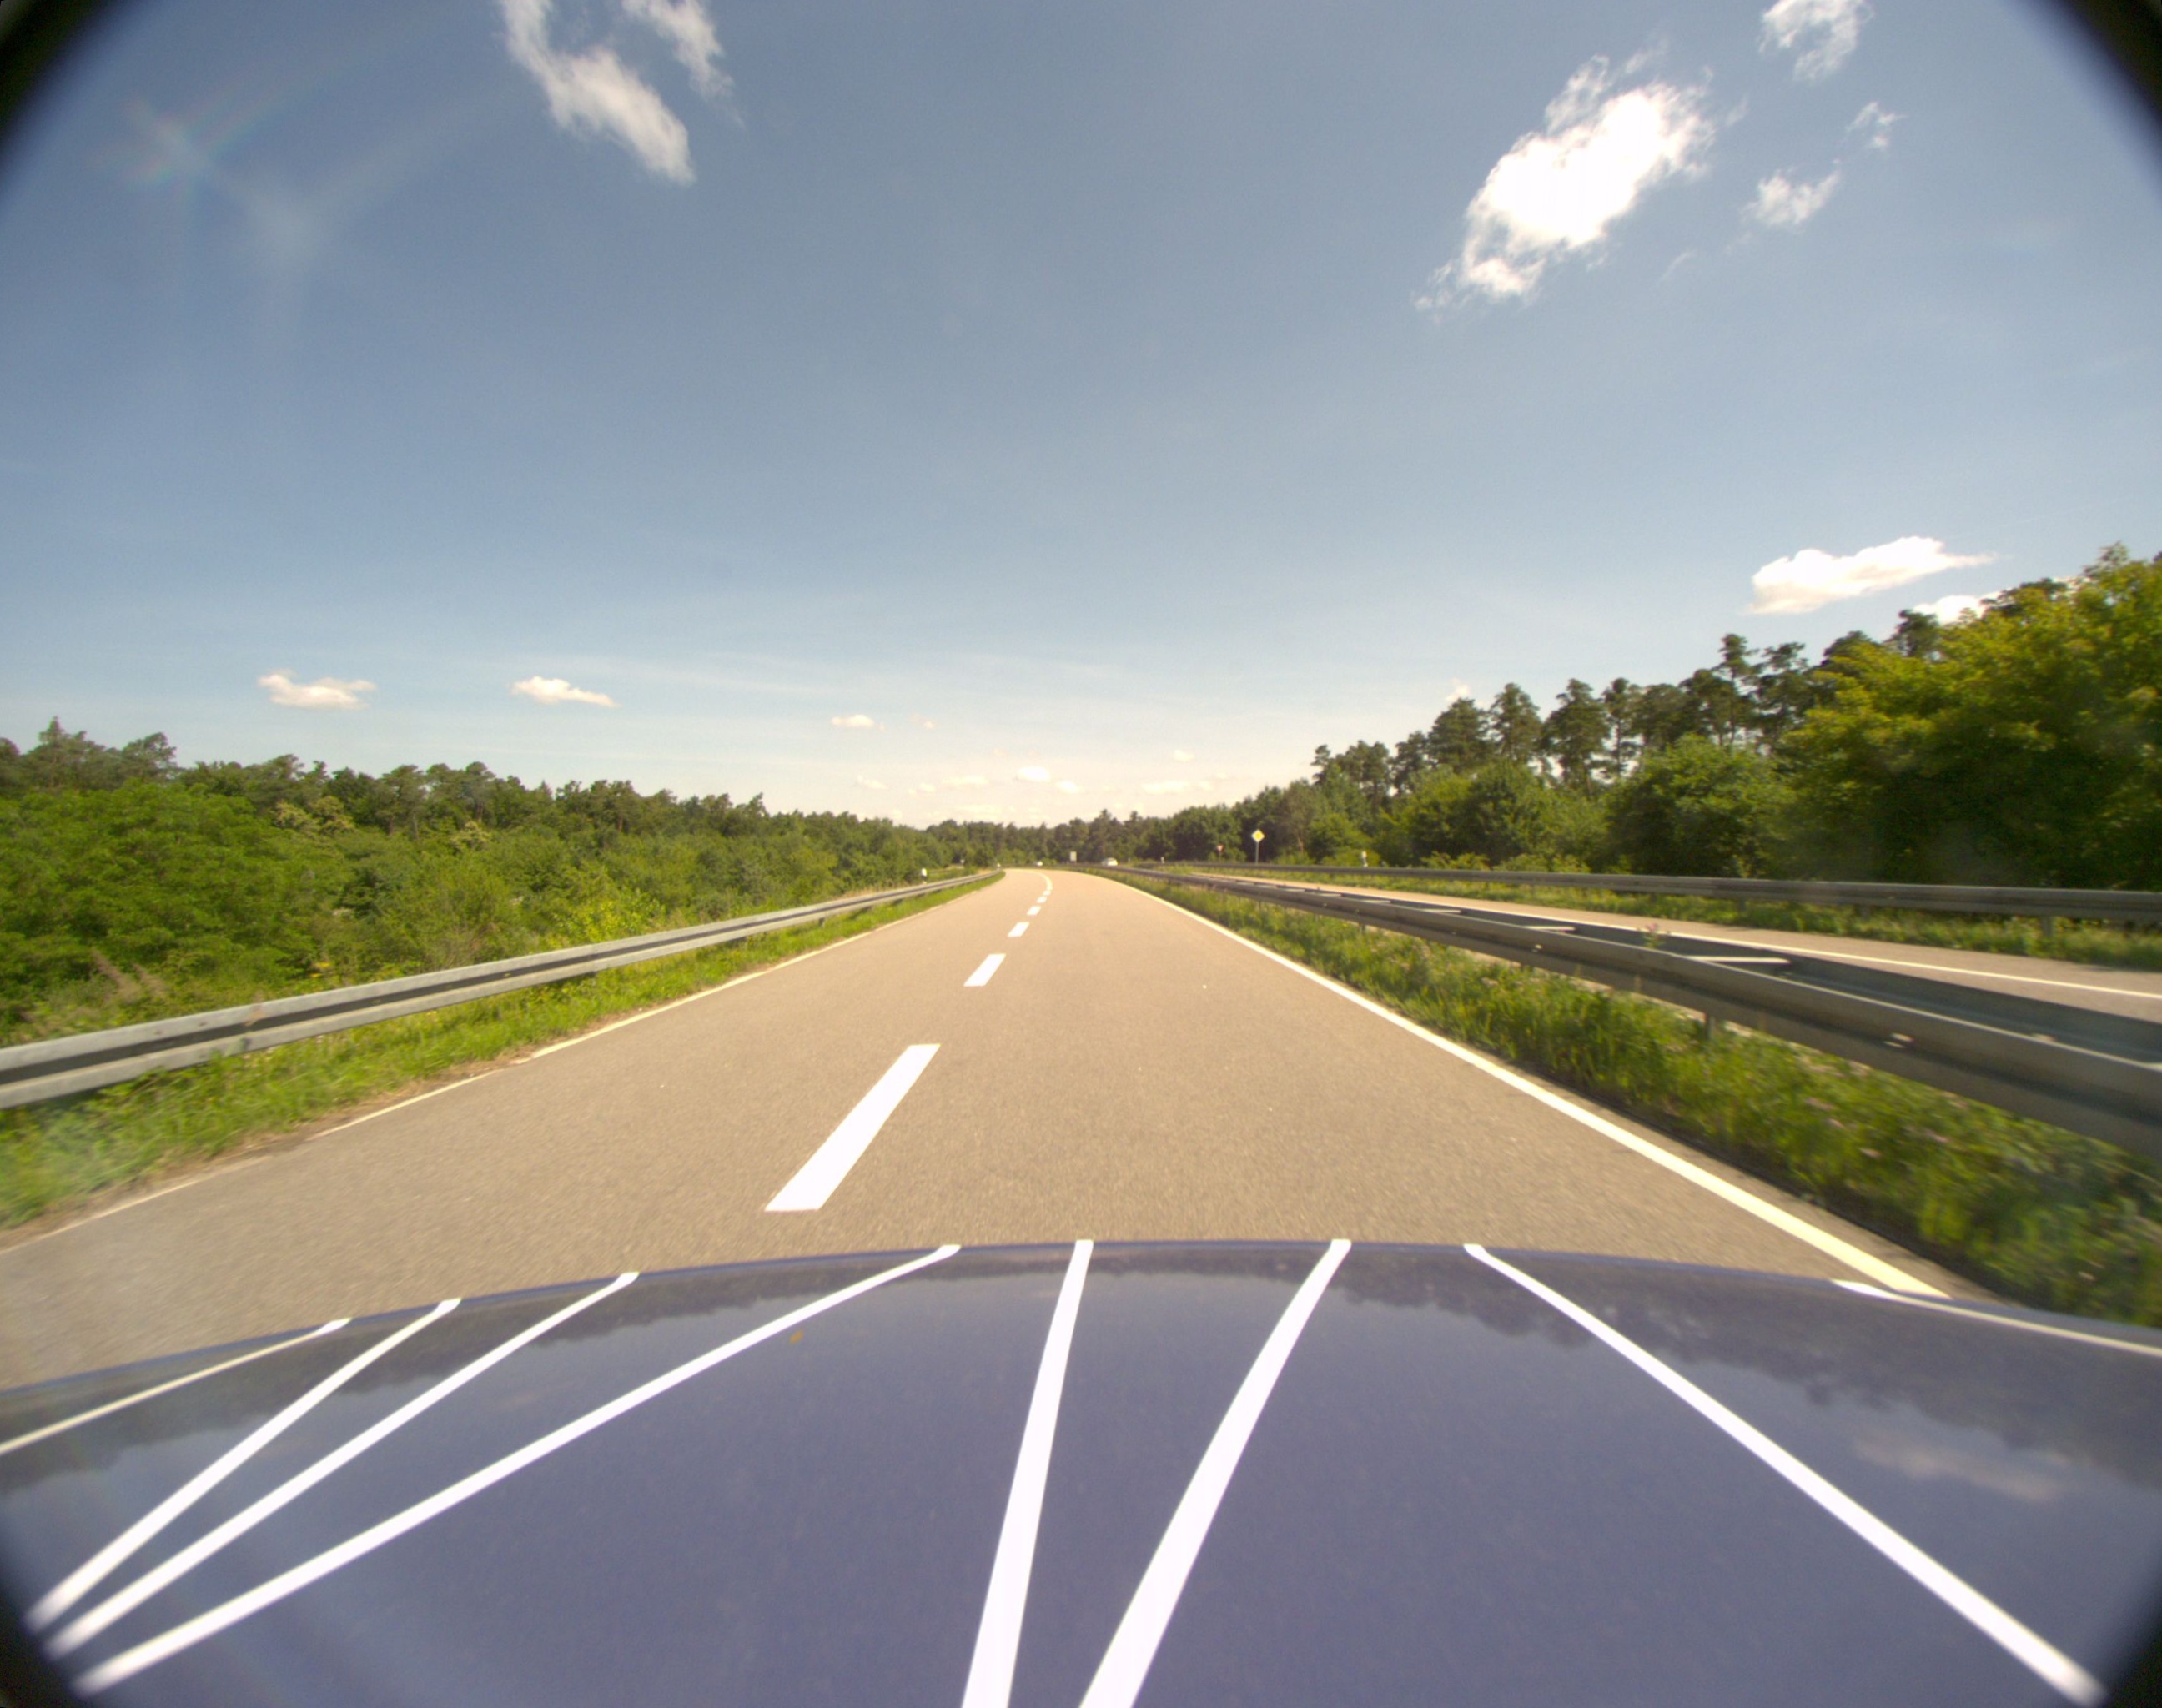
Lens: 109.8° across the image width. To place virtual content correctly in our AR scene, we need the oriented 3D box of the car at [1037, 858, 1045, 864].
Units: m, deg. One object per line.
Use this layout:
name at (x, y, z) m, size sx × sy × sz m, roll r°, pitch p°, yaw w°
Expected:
car at (-10.583, 1.765, 200.852) m, size 1.684 × 1.419 × 4.207 m, roll -2°, pitch 0°, yaw -12°

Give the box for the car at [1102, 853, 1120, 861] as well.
car at (5.183, 0.544, 131.891) m, size 1.954 × 1.405 × 4.828 m, roll -1°, pitch 0°, yaw -12°
